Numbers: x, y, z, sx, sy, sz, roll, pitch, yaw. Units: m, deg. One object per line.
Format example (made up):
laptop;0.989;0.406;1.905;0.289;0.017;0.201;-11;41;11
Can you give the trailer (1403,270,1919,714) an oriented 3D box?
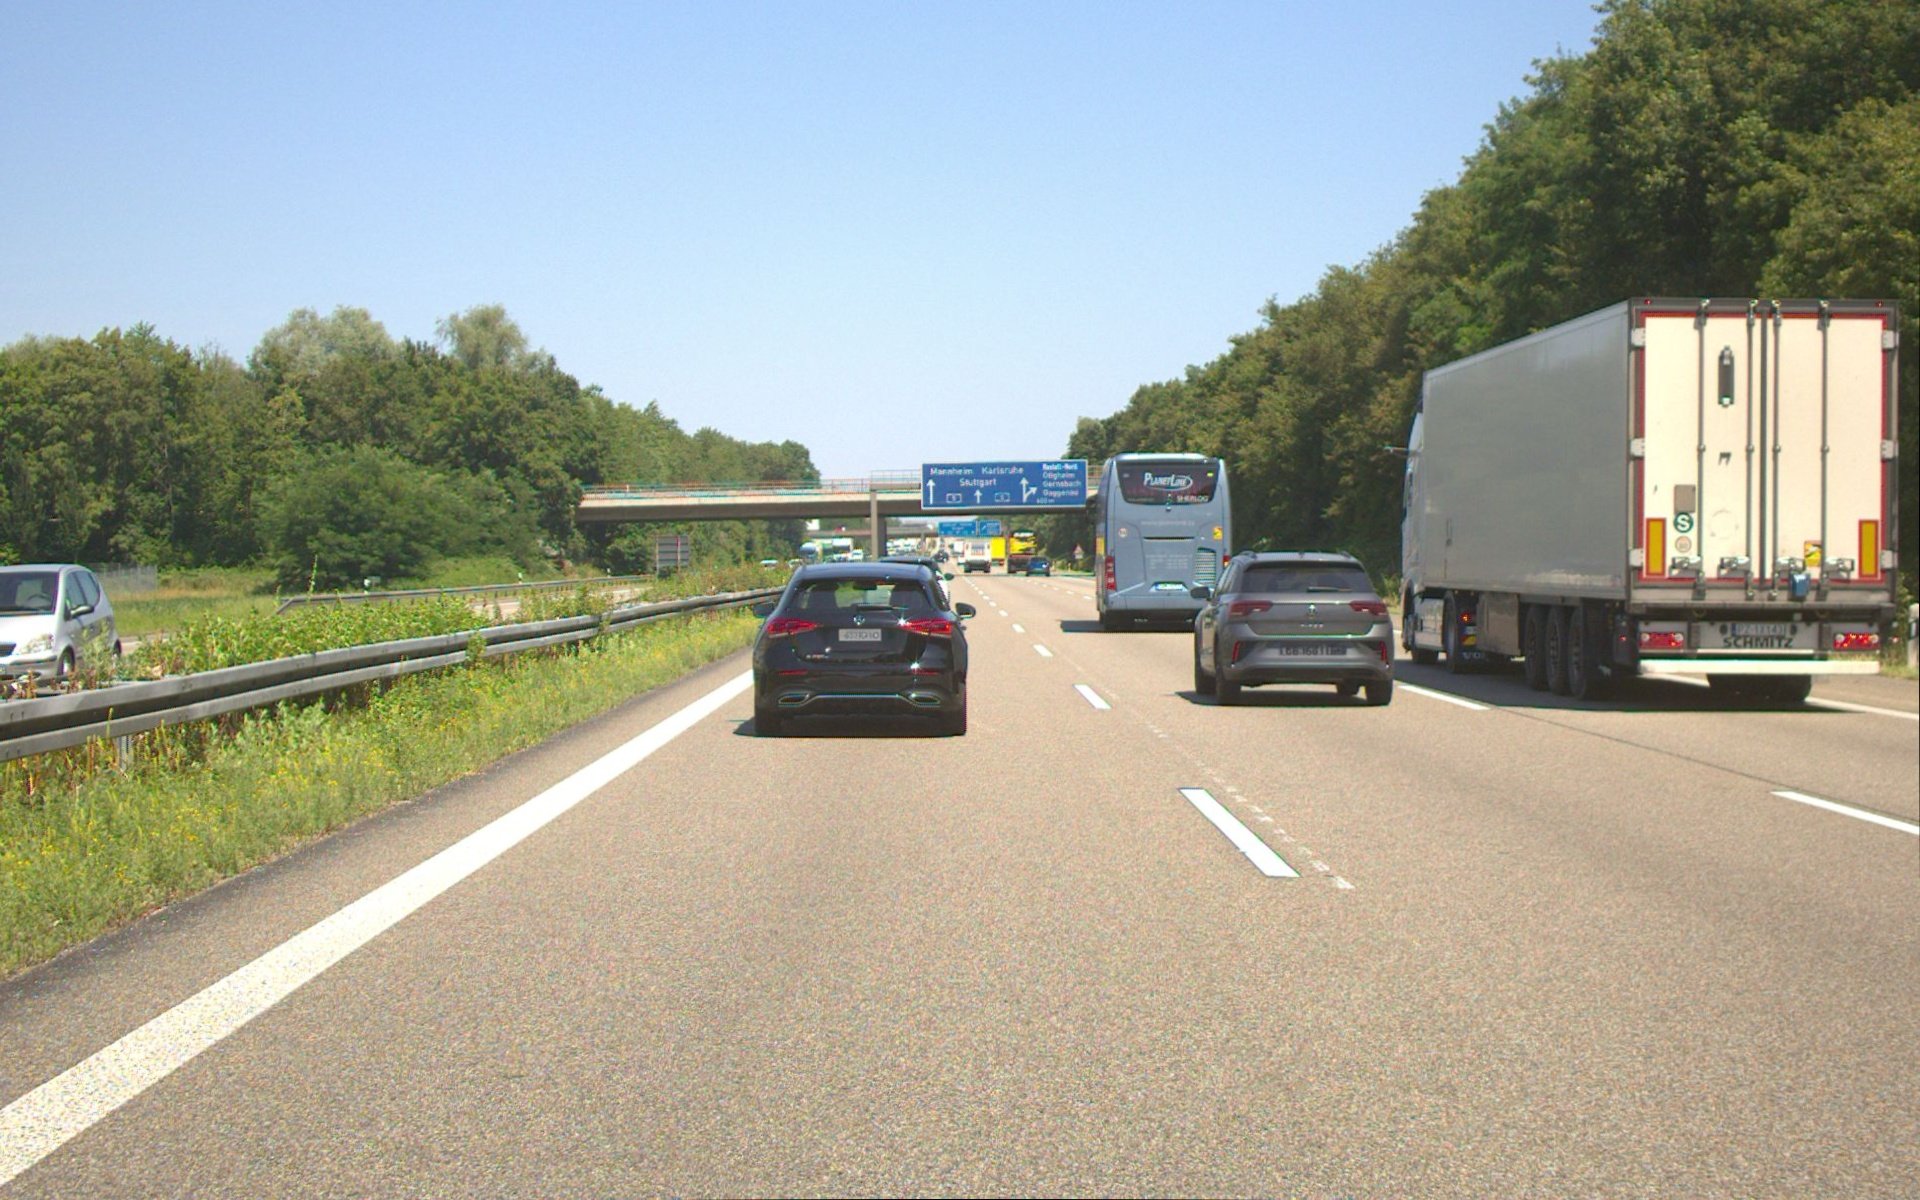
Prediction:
trailer;7.681;-1.144;39.652;3.039;4.210;13.837;0;1;-1

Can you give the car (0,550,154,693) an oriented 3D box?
car;-11.017;0.230;41.185;1.656;1.577;4.335;-2;1;0

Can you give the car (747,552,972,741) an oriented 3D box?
car;-0.856;0.345;29.700;1.799;1.497;4.242;0;1;-1

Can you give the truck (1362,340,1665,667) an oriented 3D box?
truck;7.510;-1.293;47.442;3.047;4.200;6.049;0;1;-1

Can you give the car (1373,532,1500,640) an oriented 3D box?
car;9.629;-0.313;69.749;1.899;2.113;4.242;0;1;-1

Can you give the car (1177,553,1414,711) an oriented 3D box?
car;3.435;0.282;36.032;1.899;1.527;4.760;0;1;-1

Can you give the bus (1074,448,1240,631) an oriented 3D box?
bus;4.075;-1.270;73.701;2.802;3.584;12.475;0;1;0

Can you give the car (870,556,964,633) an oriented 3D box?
car;-0.919;-0.136;71.768;1.899;1.527;4.242;0;1;-1
